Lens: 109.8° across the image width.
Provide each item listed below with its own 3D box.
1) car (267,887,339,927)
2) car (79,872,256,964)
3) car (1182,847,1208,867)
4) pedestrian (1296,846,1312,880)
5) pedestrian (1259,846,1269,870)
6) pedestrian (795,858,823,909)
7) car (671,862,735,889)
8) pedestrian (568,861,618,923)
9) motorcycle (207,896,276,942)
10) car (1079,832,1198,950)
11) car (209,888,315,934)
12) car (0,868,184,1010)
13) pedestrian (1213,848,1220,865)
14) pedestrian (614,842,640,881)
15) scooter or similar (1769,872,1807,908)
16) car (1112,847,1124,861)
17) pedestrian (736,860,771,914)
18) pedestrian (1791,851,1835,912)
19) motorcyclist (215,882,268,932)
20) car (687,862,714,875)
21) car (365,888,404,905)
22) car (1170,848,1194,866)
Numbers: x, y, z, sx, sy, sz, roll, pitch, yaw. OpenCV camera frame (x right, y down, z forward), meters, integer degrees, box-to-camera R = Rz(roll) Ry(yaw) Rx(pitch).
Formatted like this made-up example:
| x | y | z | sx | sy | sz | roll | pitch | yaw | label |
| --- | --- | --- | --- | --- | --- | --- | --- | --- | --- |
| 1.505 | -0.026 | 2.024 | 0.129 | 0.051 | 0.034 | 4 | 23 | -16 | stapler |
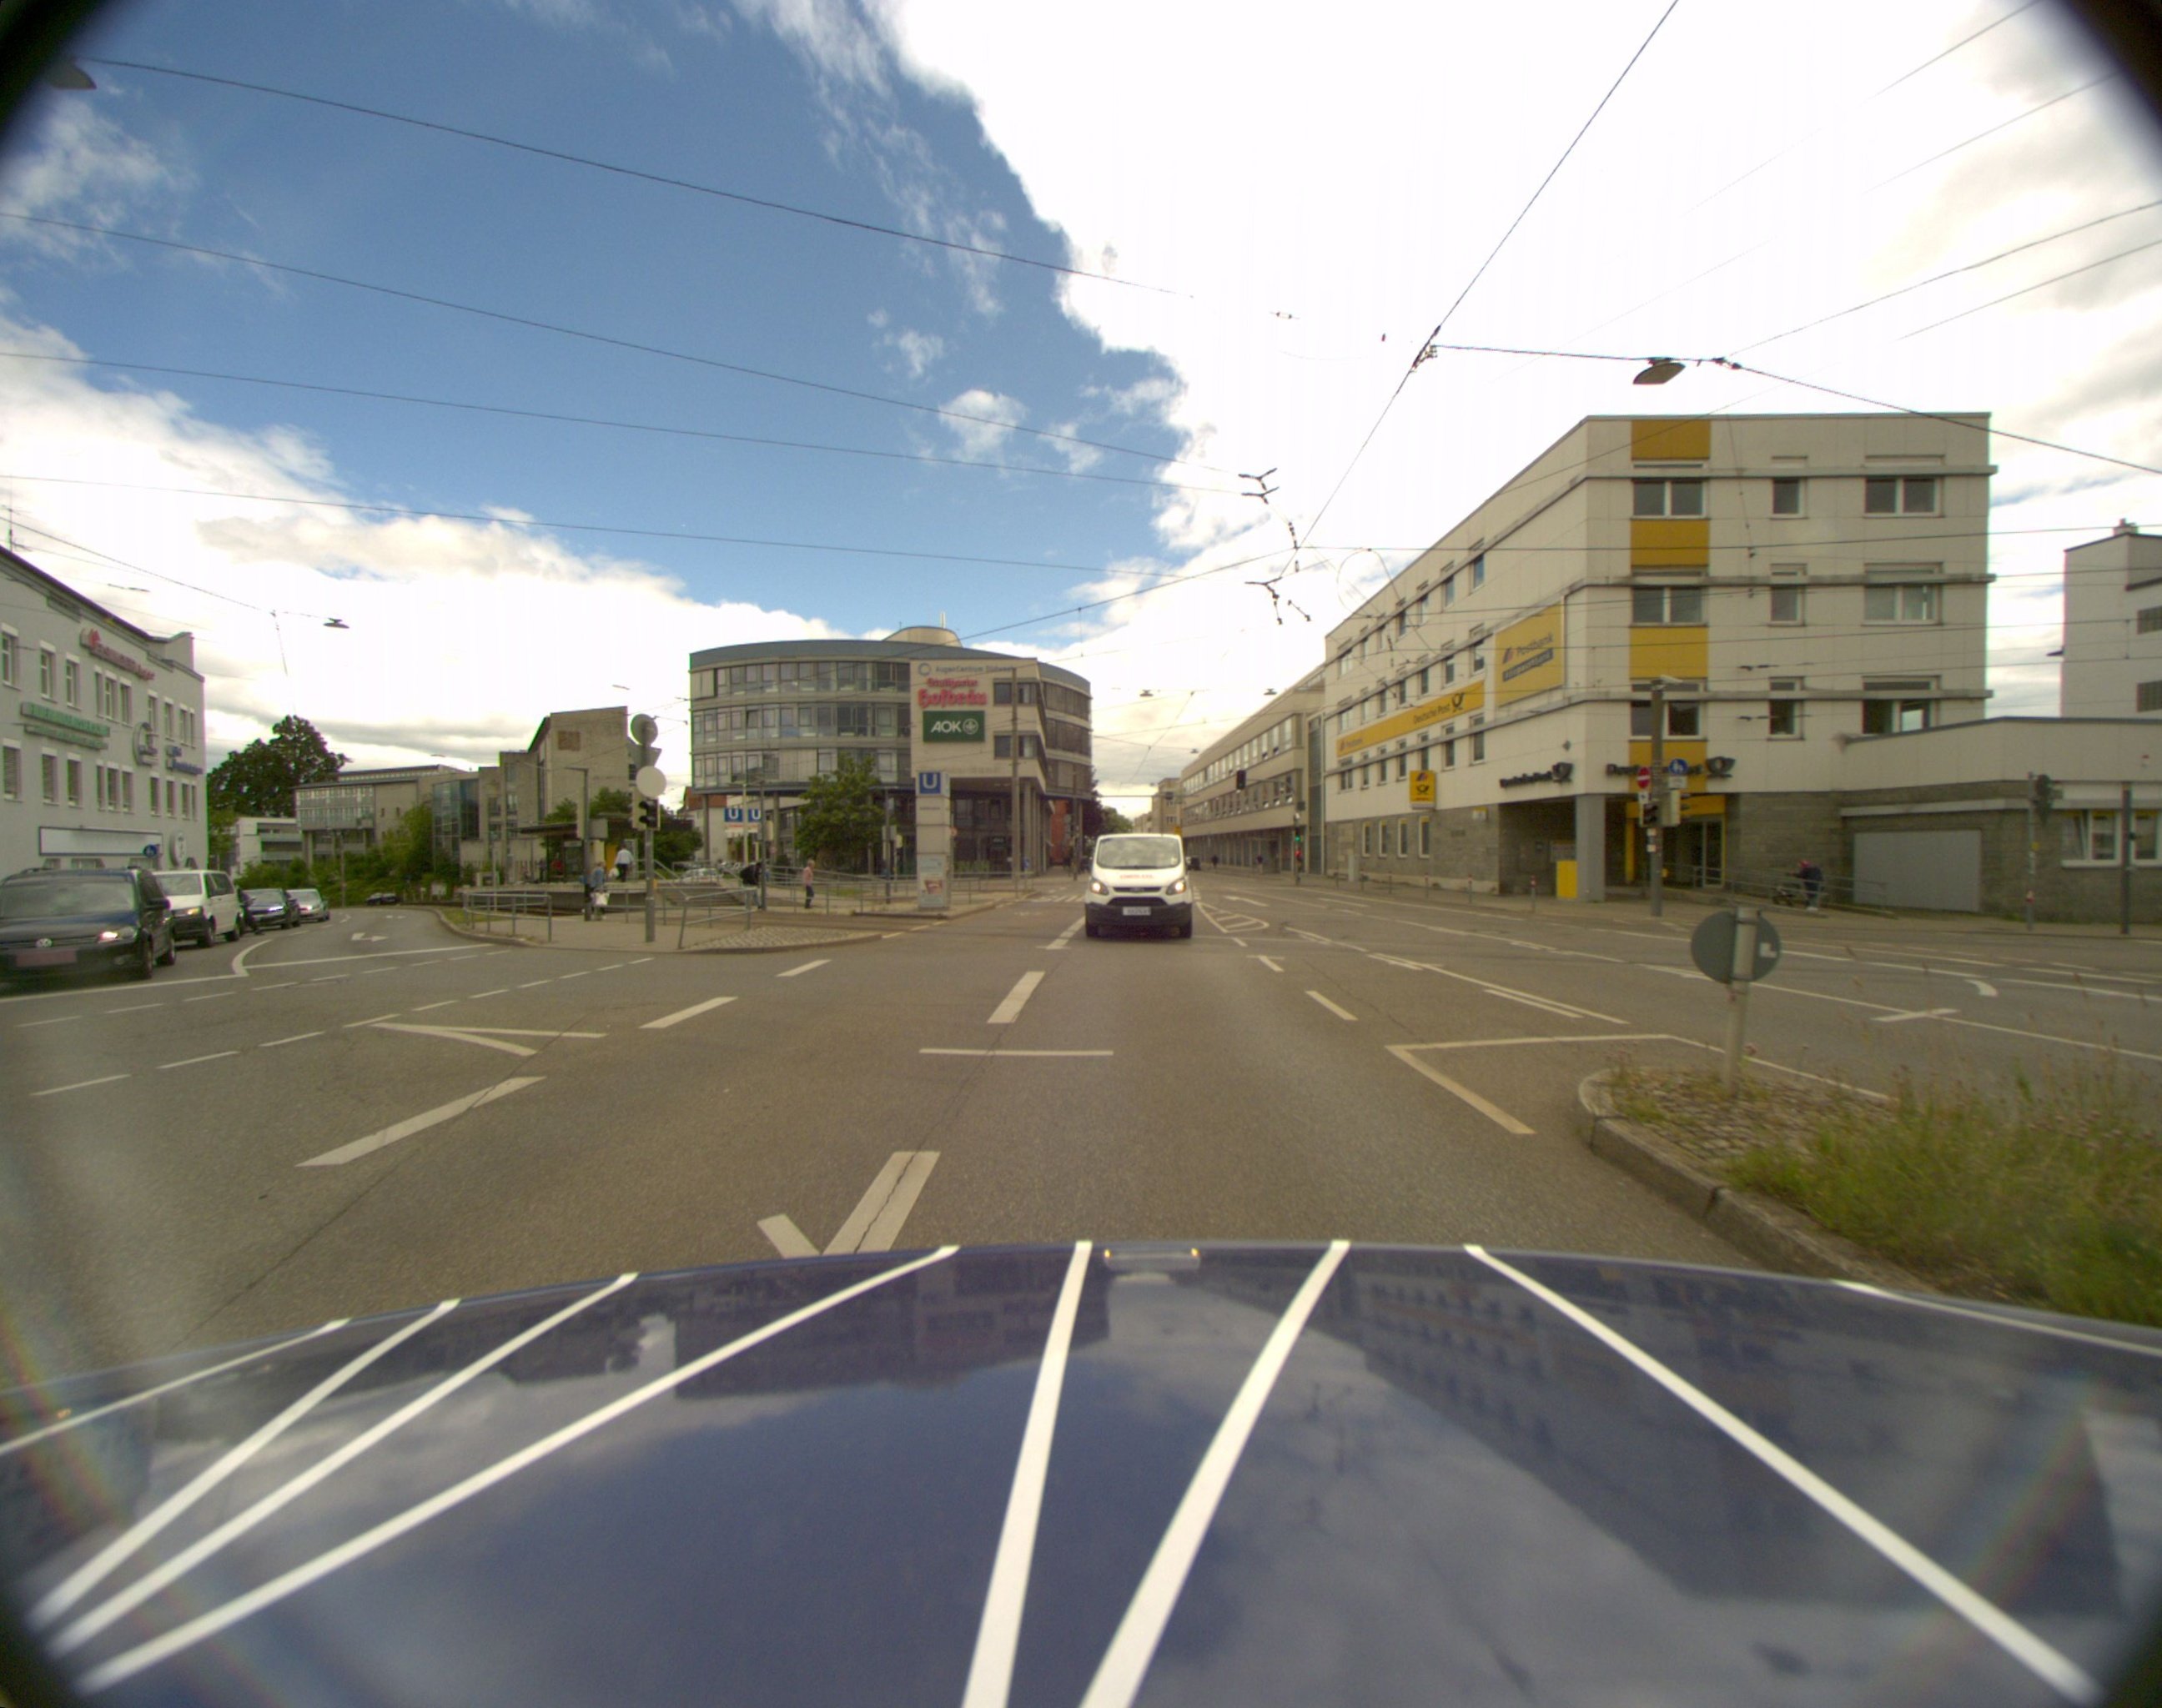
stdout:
| x | y | z | sx | sy | sz | roll | pitch | yaw | label |
| --- | --- | --- | --- | --- | --- | --- | --- | --- | --- |
| -33.976 | 2.254 | 33.304 | 1.884 | 1.430 | 4.736 | -2 | 1 | -42 | car |
| -22.563 | 1.451 | 19.014 | 1.884 | 1.884 | 4.914 | -2 | 1 | -39 | car |
| 12.340 | 0.316 | 82.601 | 1.999 | 2.002 | 4.485 | -2 | 0 | -3 | car |
| 12.150 | 0.498 | 41.397 | 0.587 | 1.793 | 0.526 | -4 | 1 | -1 | pedestrian |
| 14.157 | 0.293 | 58.817 | 0.587 | 1.793 | 0.526 | -4 | 1 | -1 | pedestrian |
| -8.854 | 0.962 | 24.715 | 0.525 | 1.625 | 0.589 | -3 | 1 | 44 | pedestrian |
| -25.606 | 1.472 | 51.383 | 4.306 | 1.700 | 2.004 | -1 | 1 | 35 | car |
| -13.404 | 1.017 | 20.873 | 0.886 | 1.638 | 0.808 | 0 | 1 | 31 | pedestrian |
| -25.875 | 1.966 | 23.468 | 0.888 | 1.221 | 2.150 | -1 | 1 | -34 | motorcycle |
| 1.202 | 0.629 | 15.642 | 1.998 | 2.002 | 5.000 | -1 | 0 | 5 | car |
| -29.932 | 2.033 | 27.931 | 1.884 | 1.438 | 4.773 | -2 | -1 | -38 | car |
| -16.398 | 1.216 | 12.422 | 4.913 | 1.884 | 1.884 | -1 | 1 | 44 | car |
| 14.839 | 0.300 | 83.425 | 0.587 | 1.793 | 0.526 | -4 | 1 | -1 | pedestrian |
| -20.728 | 0.350 | 34.685 | 0.613 | 1.734 | 0.697 | -3 | 1 | 36 | pedestrian |
| 19.887 | 1.012 | 21.381 | 0.508 | 0.971 | 0.617 | -1 | 1 | -3 | scooter or similar |
| 6.468 | -0.025 | 132.251 | 1.998 | 2.401 | 4.488 | -1 | 0 | 4 | car |
| -10.496 | 1.050 | 24.346 | 0.847 | 1.625 | 0.643 | -4 | 1 | -34 | pedestrian |
| 19.891 | 0.744 | 20.660 | 0.587 | 1.625 | 0.615 | -1 | 1 | -1 | pedestrian |
| -25.854 | 1.608 | 23.419 | 0.890 | 1.467 | 0.804 | -1 | 1 | -34 | motorcyclist |
| -52.068 | 1.984 | 103.851 | 2.004 | 1.700 | 4.306 | -2 | 1 | -45 | car |
| -76.840 | 4.687 | 83.825 | 4.307 | 1.700 | 2.004 | -1 | 1 | 30 | car |
| 11.755 | 0.283 | 88.782 | 1.999 | 2.002 | 4.485 | -2 | 0 | -3 | car |
